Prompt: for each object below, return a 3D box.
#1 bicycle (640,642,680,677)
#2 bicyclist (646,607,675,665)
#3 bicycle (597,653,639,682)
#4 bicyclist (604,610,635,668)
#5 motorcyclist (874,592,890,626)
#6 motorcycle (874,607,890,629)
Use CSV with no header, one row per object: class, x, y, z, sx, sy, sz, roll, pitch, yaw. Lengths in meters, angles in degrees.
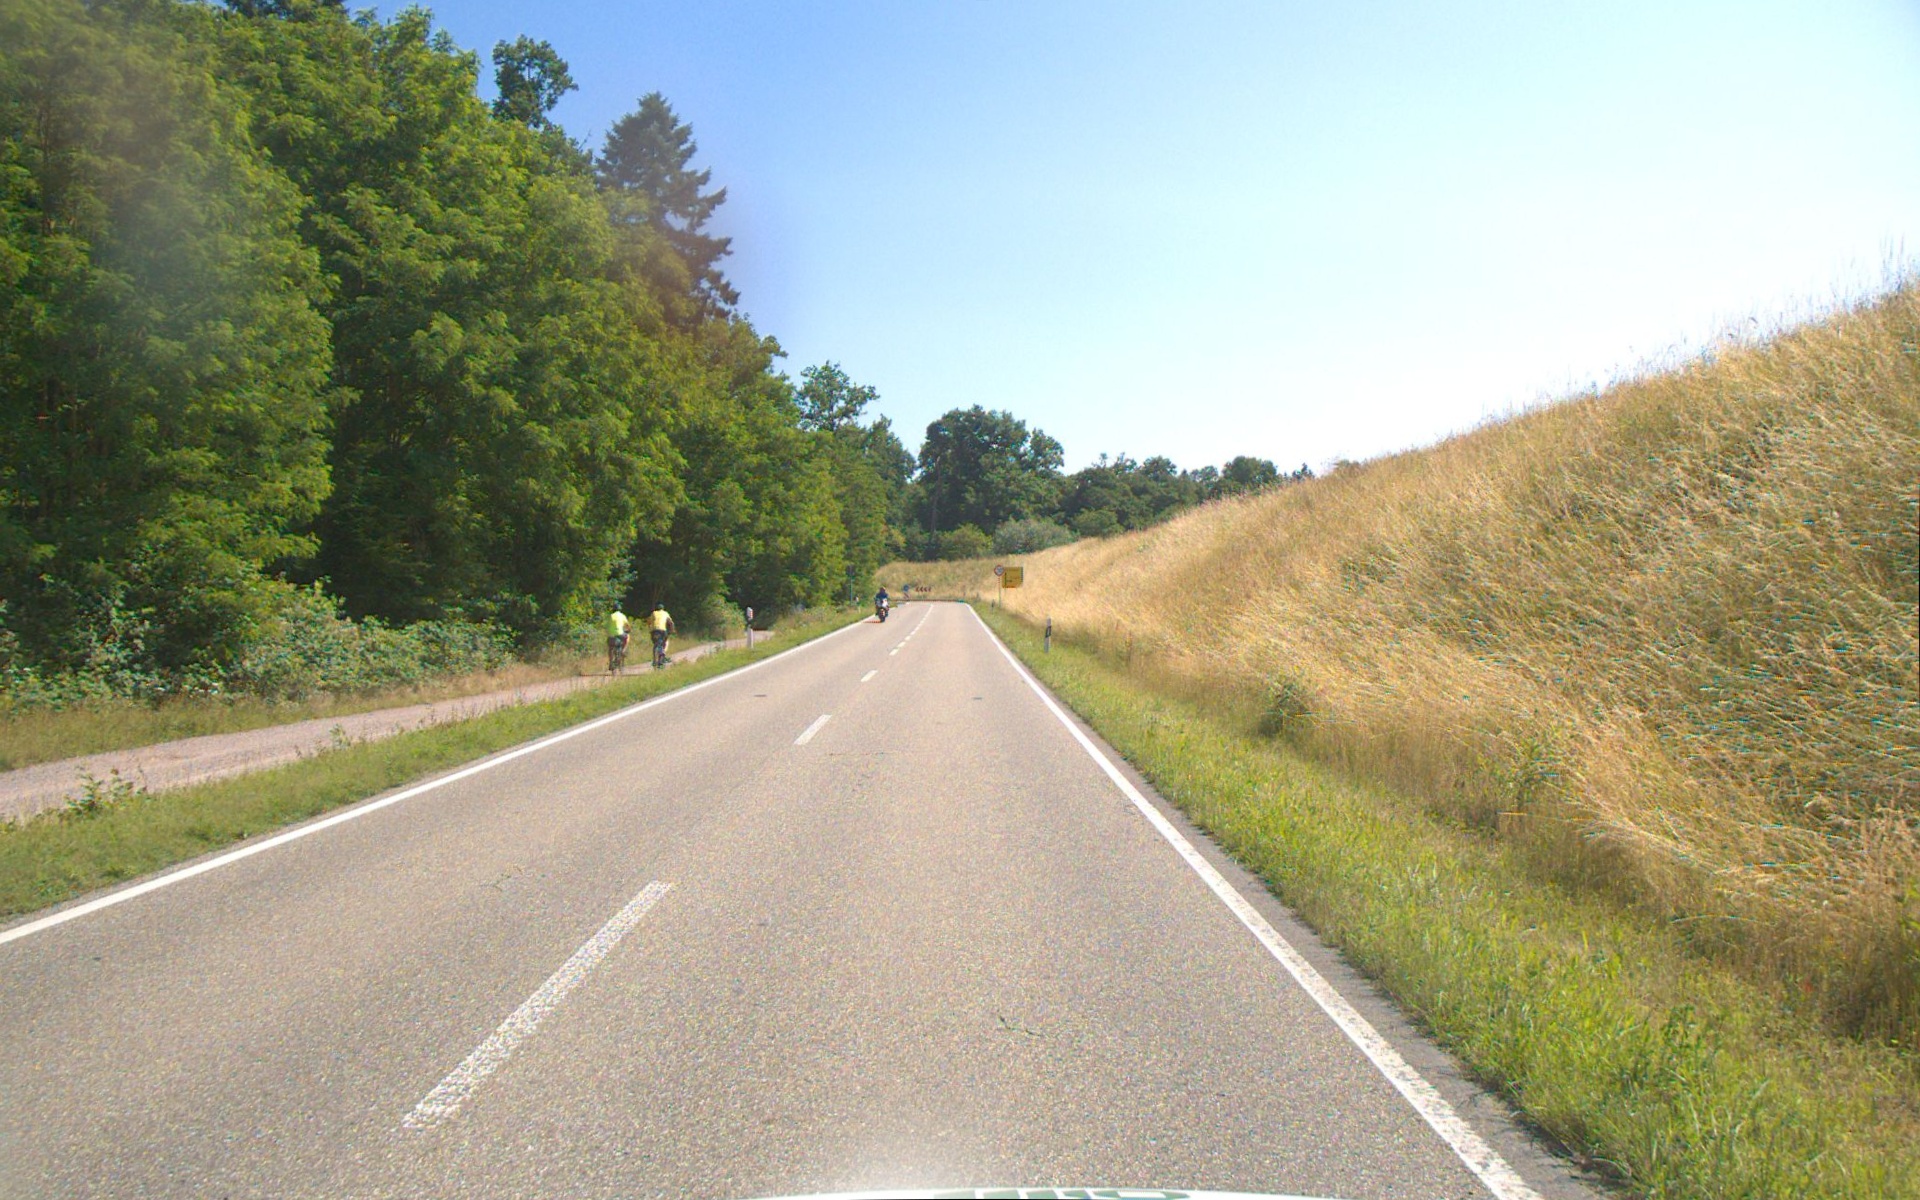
bicycle,-7.555,1.493,41.757,0.627,0.802,2.136,-1,0,0
bicyclist,-7.574,0.896,41.789,0.593,1.440,0.702,-1,0,-1
bicycle,-8.651,1.709,41.906,0.606,0.693,2.136,2,-2,0
bicyclist,-8.624,0.990,41.912,0.593,1.440,0.702,2,-2,-1
motorcyclist,-3.574,0.419,75.727,0.646,1.555,0.813,-2,-1,-2
motorcycle,-3.551,0.813,75.562,0.626,1.002,2.006,-2,0,-1
